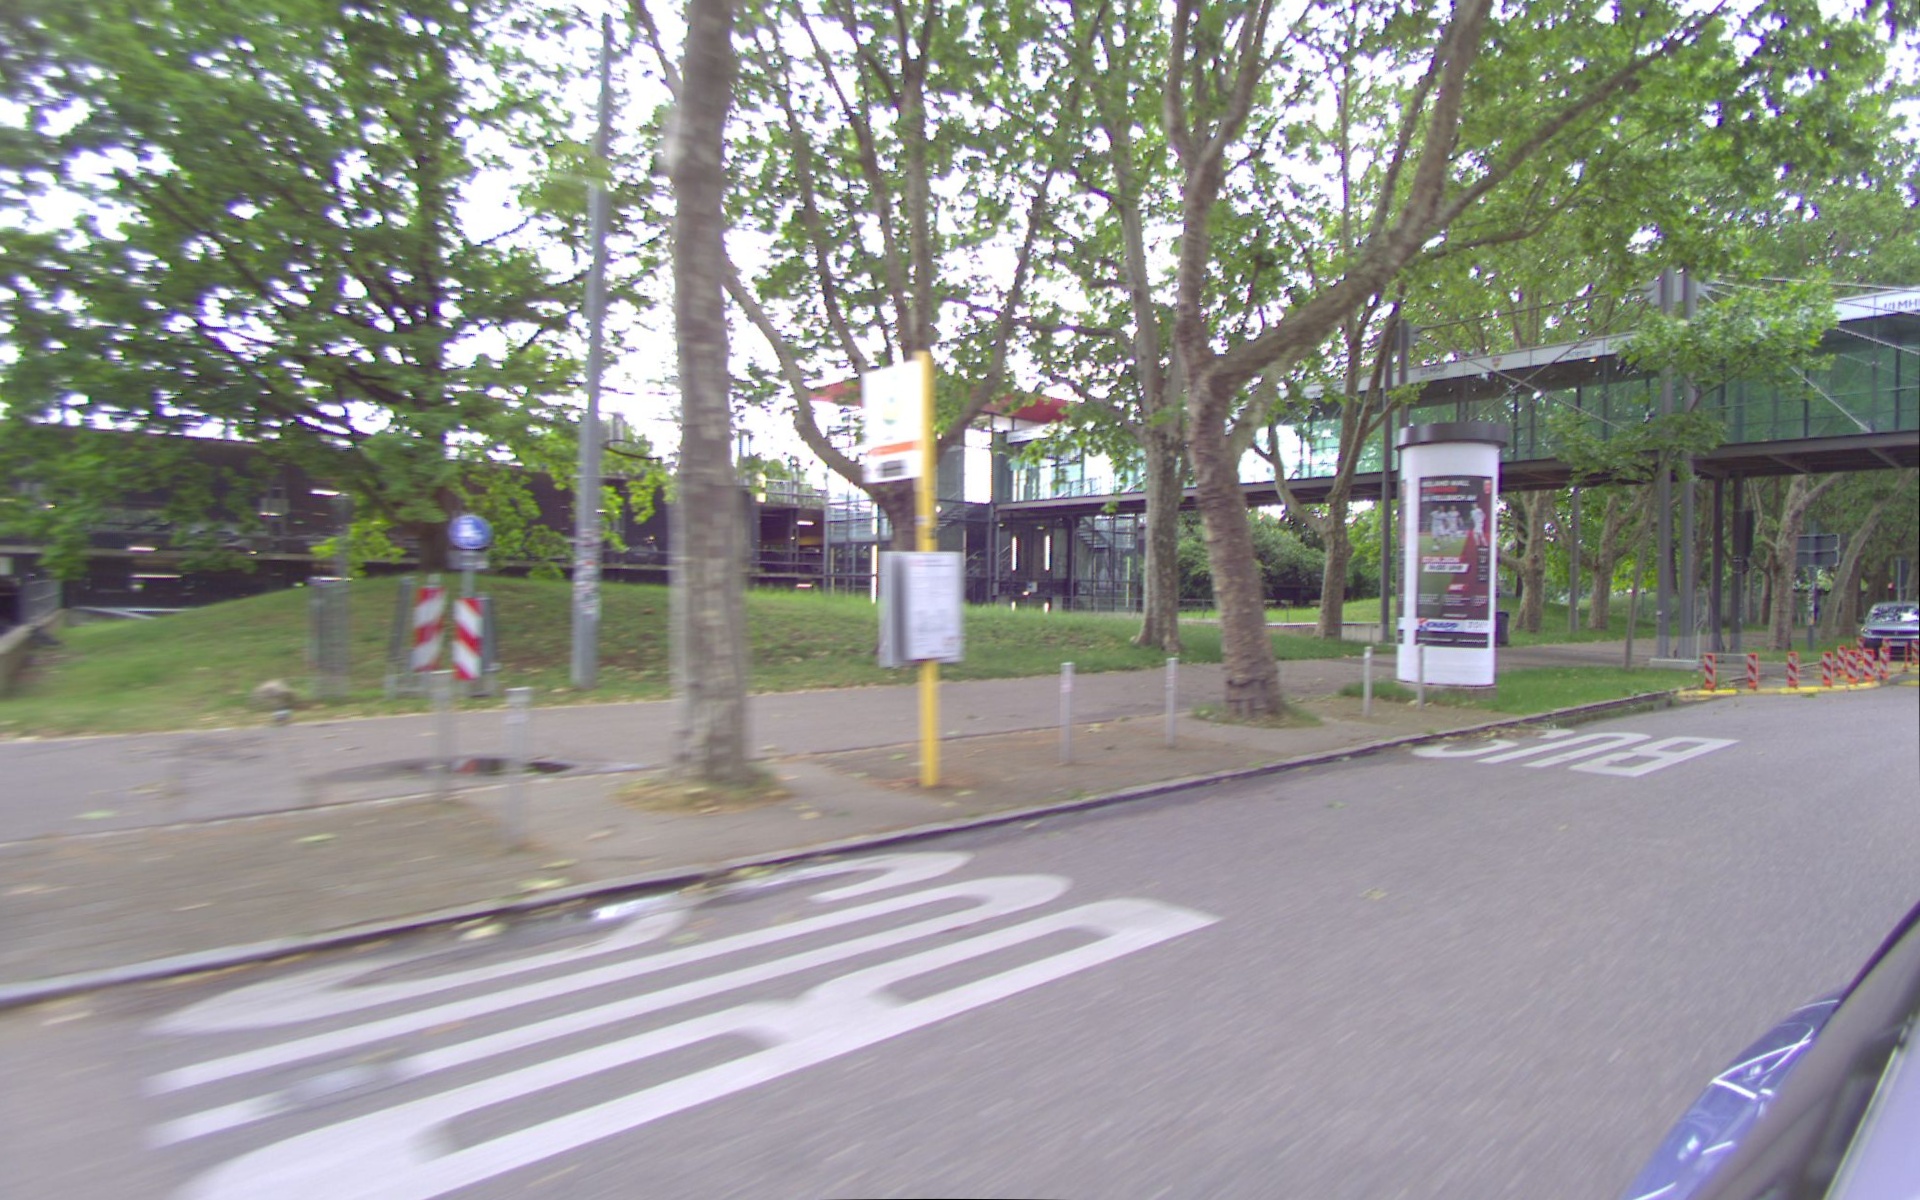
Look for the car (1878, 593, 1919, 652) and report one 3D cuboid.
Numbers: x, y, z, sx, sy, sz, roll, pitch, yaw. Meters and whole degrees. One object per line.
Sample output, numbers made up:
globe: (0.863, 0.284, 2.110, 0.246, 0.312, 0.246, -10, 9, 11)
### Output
car: (29.819, 0.669, 31.276, 4.421, 1.718, 1.754, 0, 1, -43)
